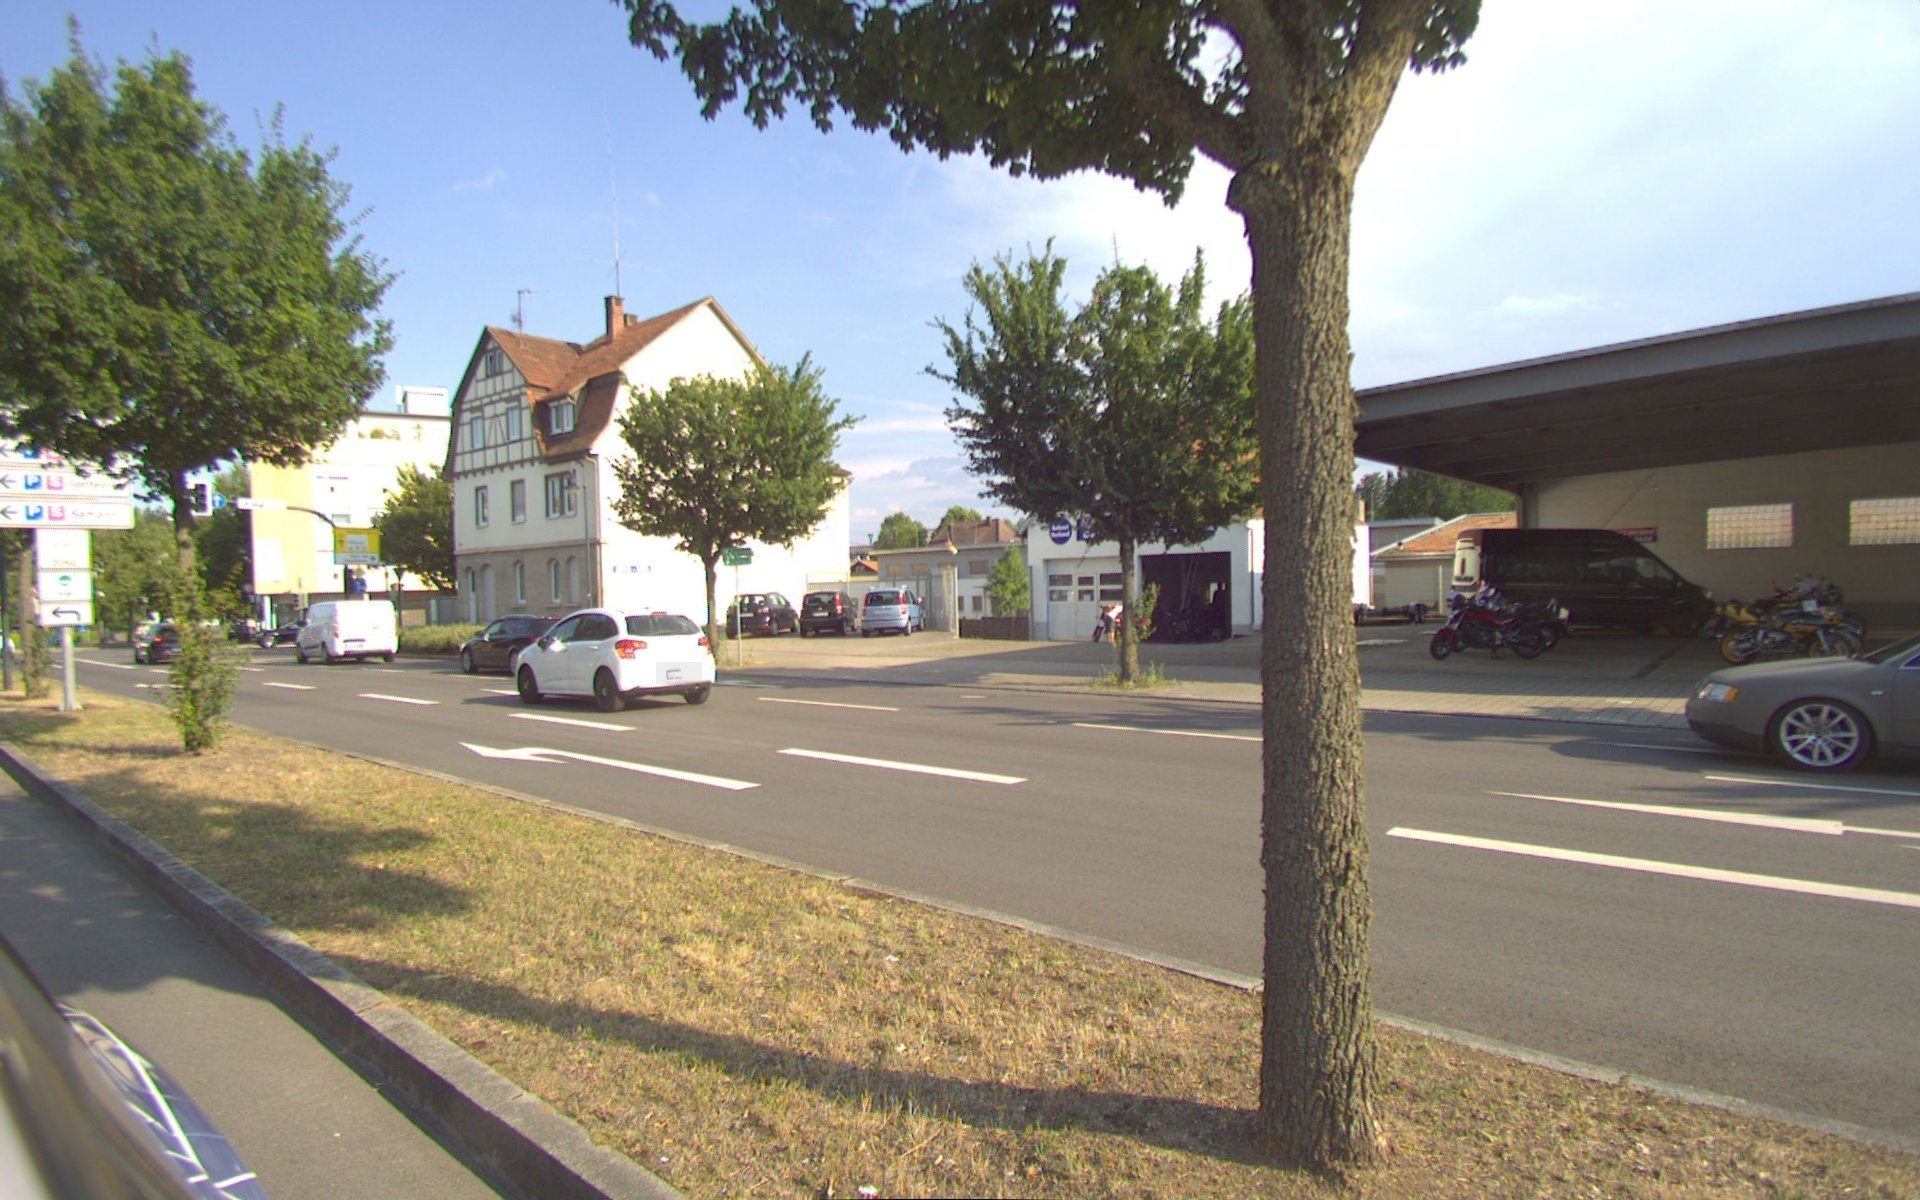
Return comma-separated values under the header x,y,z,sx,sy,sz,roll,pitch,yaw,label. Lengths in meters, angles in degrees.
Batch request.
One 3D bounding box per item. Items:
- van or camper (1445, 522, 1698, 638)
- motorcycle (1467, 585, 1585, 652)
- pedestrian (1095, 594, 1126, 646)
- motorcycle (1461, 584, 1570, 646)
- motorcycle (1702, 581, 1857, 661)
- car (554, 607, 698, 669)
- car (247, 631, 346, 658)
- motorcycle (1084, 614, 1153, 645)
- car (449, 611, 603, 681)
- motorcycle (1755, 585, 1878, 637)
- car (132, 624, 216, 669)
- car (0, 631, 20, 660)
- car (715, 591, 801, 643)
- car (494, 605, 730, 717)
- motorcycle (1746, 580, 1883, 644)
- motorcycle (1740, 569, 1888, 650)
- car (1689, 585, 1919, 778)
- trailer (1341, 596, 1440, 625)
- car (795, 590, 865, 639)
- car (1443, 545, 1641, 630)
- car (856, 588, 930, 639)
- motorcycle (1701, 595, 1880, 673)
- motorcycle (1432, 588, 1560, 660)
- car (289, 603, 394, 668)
x,y,z,sx,sy,sz,roll,pitch,yaw,label
15.194,-0.466,25.445,4.982,2.700,1.994,-1,0,10,van or camper
11.491,0.376,20.592,1.982,1.321,0.649,-1,0,4,motorcycle
4.559,0.602,30.661,0.643,1.535,0.675,-1,0,-42,pedestrian
12.254,0.331,22.374,1.982,1.321,0.649,-1,0,4,motorcycle
14.490,0.357,17.988,0.553,1.340,2.161,-1,0,-19,motorcycle
-9.256,1.011,27.900,4.193,1.454,1.816,-1,3,41,car
-38.545,2.573,58.840,4.595,1.364,1.770,-1,0,-41,car
4.875,0.896,31.190,2.212,0.927,0.500,-1,0,45,motorcycle
-10.571,1.056,24.512,4.244,1.508,1.788,-1,0,42,car
19.658,0.253,23.303,0.553,1.131,2.161,-1,0,-19,motorcycle
-28.214,1.625,36.286,4.108,1.462,1.750,-1,0,43,car
-46.544,2.190,47.025,1.744,1.364,4.127,-1,0,4,car
-7.011,0.558,35.528,1.746,1.563,3.992,-2,1,7,car
-5.531,0.868,15.860,3.954,1.508,1.782,-1,0,42,car
17.941,0.247,21.329,0.636,1.268,2.161,-1,0,-19,motorcycle
16.385,0.183,19.501,0.584,1.459,2.161,-1,0,-19,motorcycle
8.571,0.598,7.737,4.710,1.473,1.668,-1,0,42,car
14.947,0.355,35.082,2.448,0.831,3.152,-1,2,38,trailer
-4.469,0.477,35.247,1.744,1.564,3.997,-1,0,3,car
16.580,-0.341,29.028,4.325,2.266,2.201,-1,0,1,car
-2.165,0.422,33.523,1.746,1.564,3.992,-1,0,7,car
12.998,0.504,15.945,0.620,1.132,2.161,-1,0,-19,motorcycle
10.027,0.451,19.004,1.991,1.321,0.665,-1,0,18,motorcycle
-20.087,1.098,32.783,1.802,1.938,4.947,-1,0,-45,car
